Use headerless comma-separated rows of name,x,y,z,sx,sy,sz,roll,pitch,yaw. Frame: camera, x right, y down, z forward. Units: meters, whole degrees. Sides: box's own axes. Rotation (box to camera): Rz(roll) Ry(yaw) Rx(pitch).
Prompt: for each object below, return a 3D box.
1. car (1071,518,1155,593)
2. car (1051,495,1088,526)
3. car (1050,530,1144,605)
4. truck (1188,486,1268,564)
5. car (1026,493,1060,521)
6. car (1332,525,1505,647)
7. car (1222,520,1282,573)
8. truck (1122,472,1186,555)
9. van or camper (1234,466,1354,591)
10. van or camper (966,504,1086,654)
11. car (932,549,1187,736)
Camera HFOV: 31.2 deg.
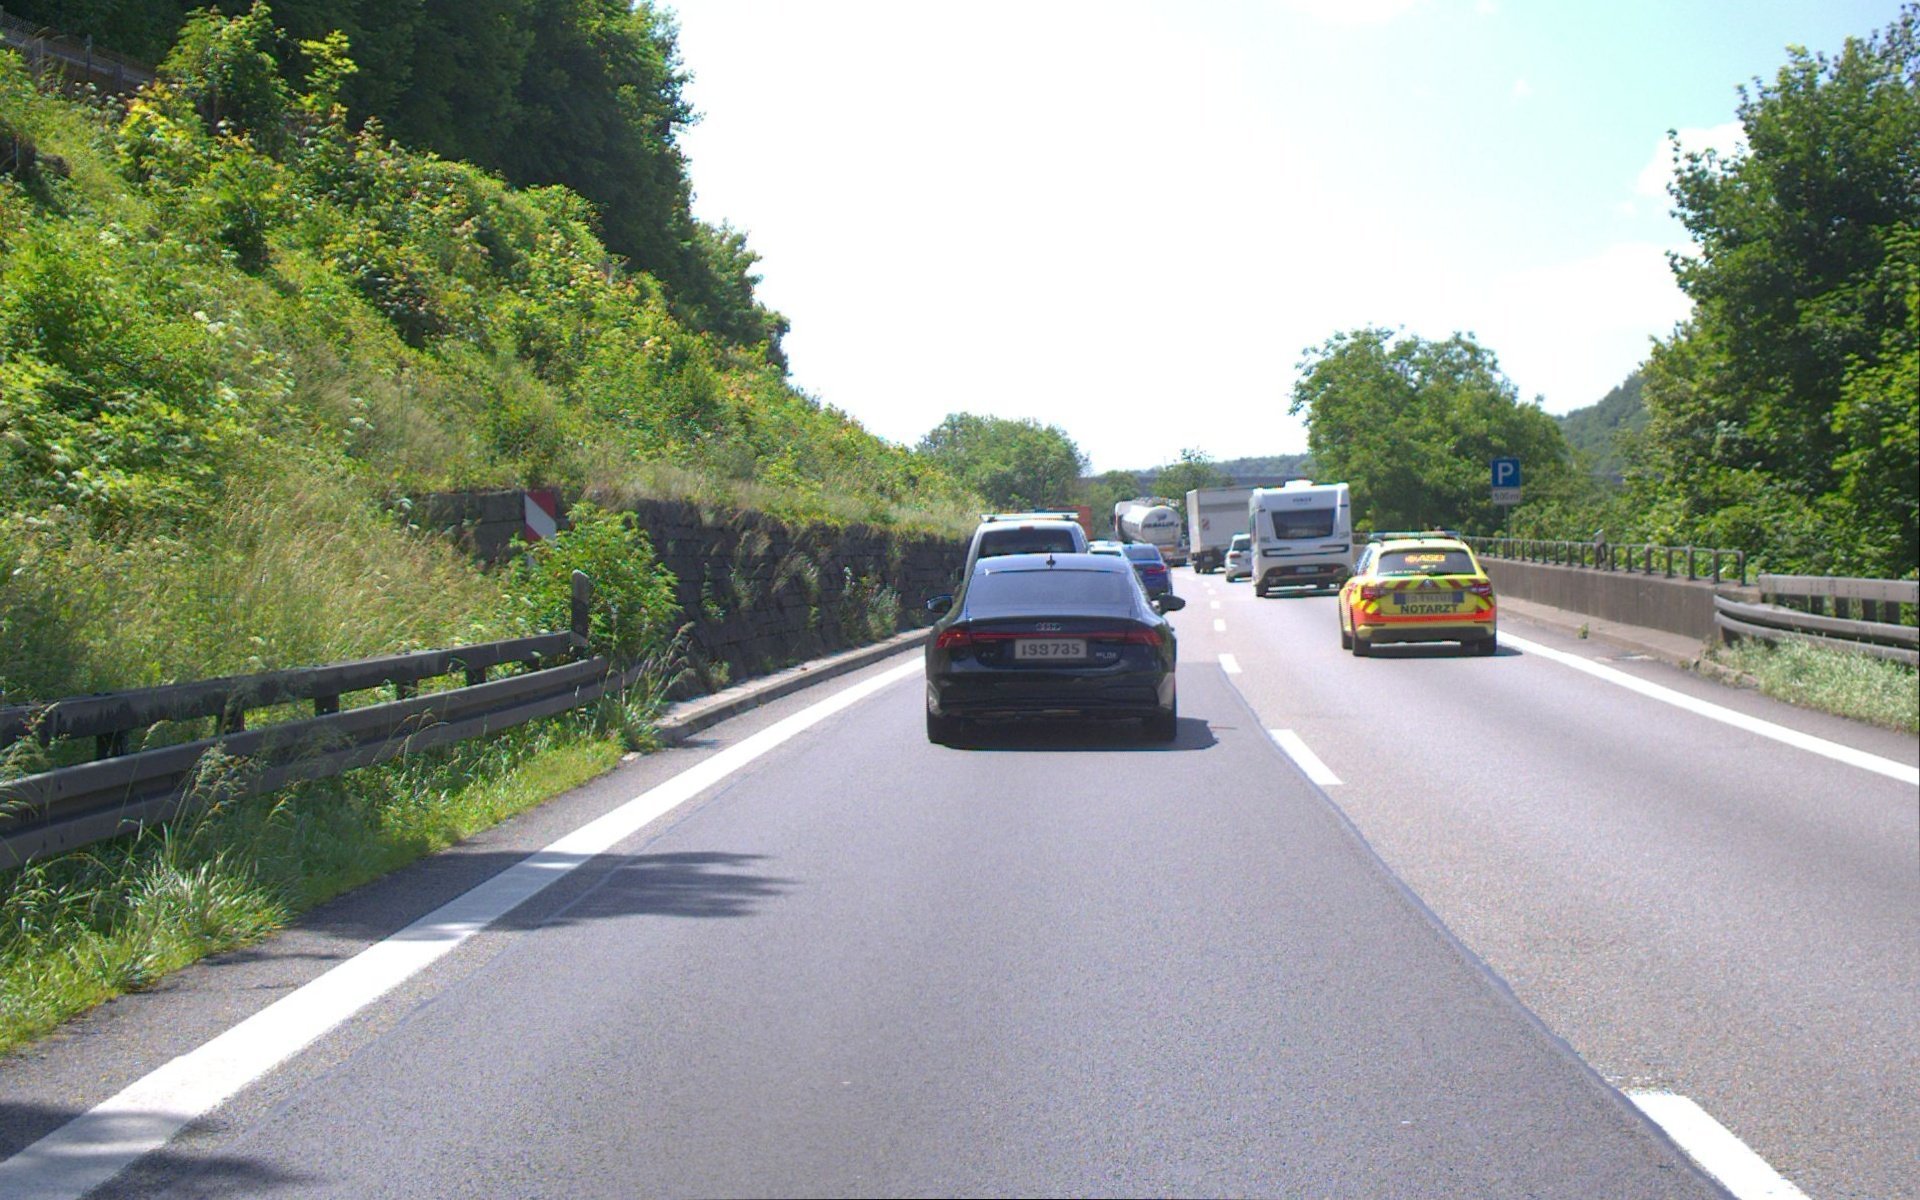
car,3.447,-1.025,77.979,1.773,1.631,4.000,0,1,1
car,7.273,-5.933,228.780,1.993,2.007,4.001,-1,1,-5
car,2.698,-0.620,66.971,1.747,1.426,3.999,0,0,4
truck,11.049,-3.091,142.316,2.841,3.120,7.480,0,1,1
car,6.136,-6.886,254.620,1.993,2.007,4.001,-1,1,-5
car,5.814,-0.181,43.997,1.863,1.483,4.000,0,0,3
car,9.662,-1.795,113.985,1.841,1.711,4.000,0,1,3
truck,9.907,-4.366,176.180,2.732,4.082,7.480,0,0,-1
van or camper,8.076,-1.690,83.750,2.455,2.908,6.126,0,0,1
van or camper,0.801,-0.262,43.519,1.391,1.809,4.000,0,0,-1
car,0.700,0.301,26.762,1.837,1.345,4.000,0,0,-1
